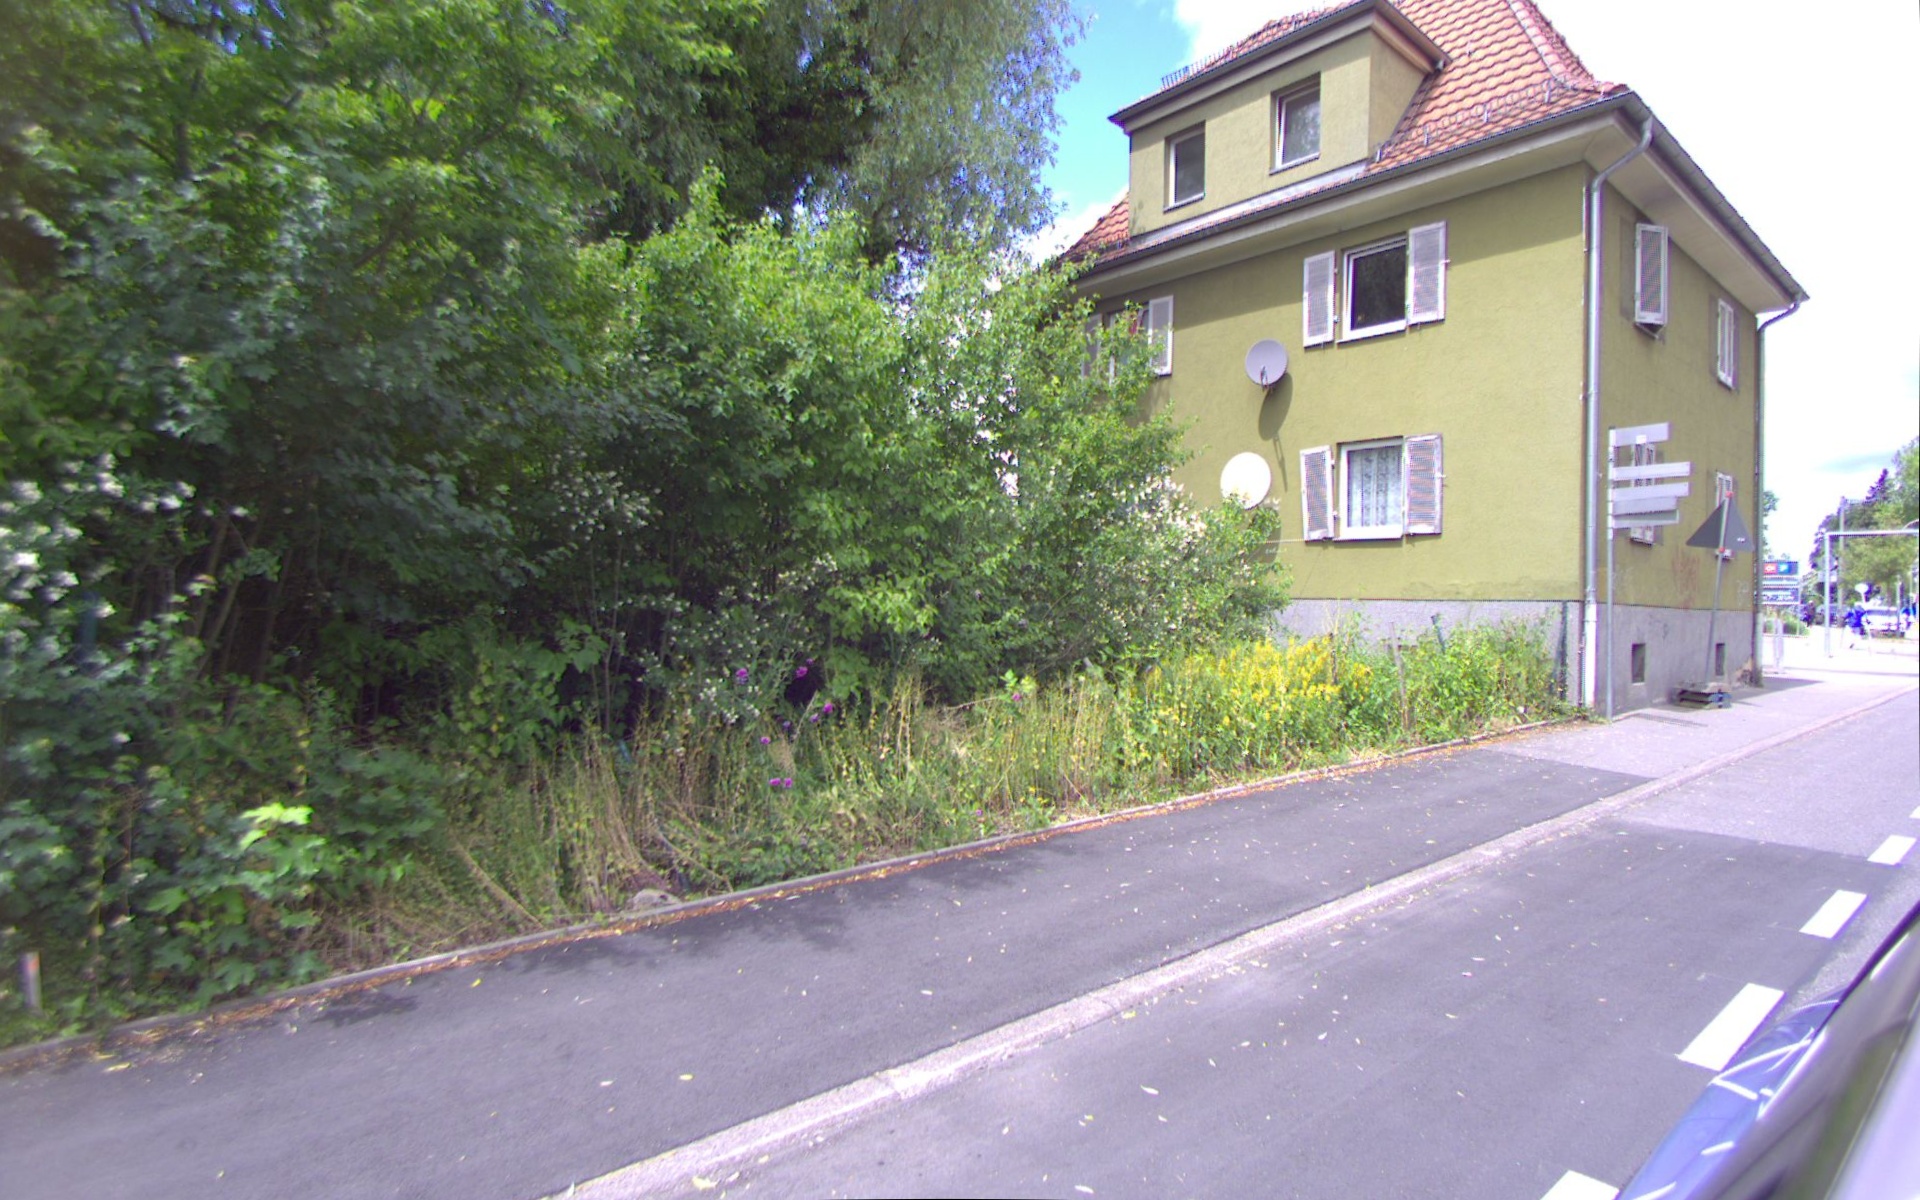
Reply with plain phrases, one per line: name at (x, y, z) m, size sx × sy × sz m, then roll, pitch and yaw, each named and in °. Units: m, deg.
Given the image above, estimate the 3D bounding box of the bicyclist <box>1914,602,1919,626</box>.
bicyclist at (66.120, 0.942, 69.355) m, size 0.798 × 1.629 × 0.766 m, roll -1°, pitch -2°, yaw 23°

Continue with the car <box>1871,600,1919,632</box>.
car at (47.625, 0.786, 51.288) m, size 3.931 × 1.529 × 1.797 m, roll 0°, pitch 1°, yaw -42°

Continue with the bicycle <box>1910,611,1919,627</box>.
bicycle at (66.132, 1.304, 69.365) m, size 0.804 × 1.122 × 1.786 m, roll -1°, pitch -1°, yaw 22°

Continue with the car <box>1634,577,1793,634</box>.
car at (28.175, 0.157, 37.993) m, size 1.961 × 2.019 × 4.374 m, roll 0°, pitch 1°, yaw -32°

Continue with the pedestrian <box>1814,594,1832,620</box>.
pedestrian at (55.483, 0.448, 65.060) m, size 0.765 × 1.683 × 0.721 m, roll 1°, pitch -3°, yaw -45°

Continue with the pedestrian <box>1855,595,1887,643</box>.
pedestrian at (30.708, 0.632, 34.141) m, size 0.726 × 1.572 × 1.042 m, roll 1°, pitch 0°, yaw 39°
